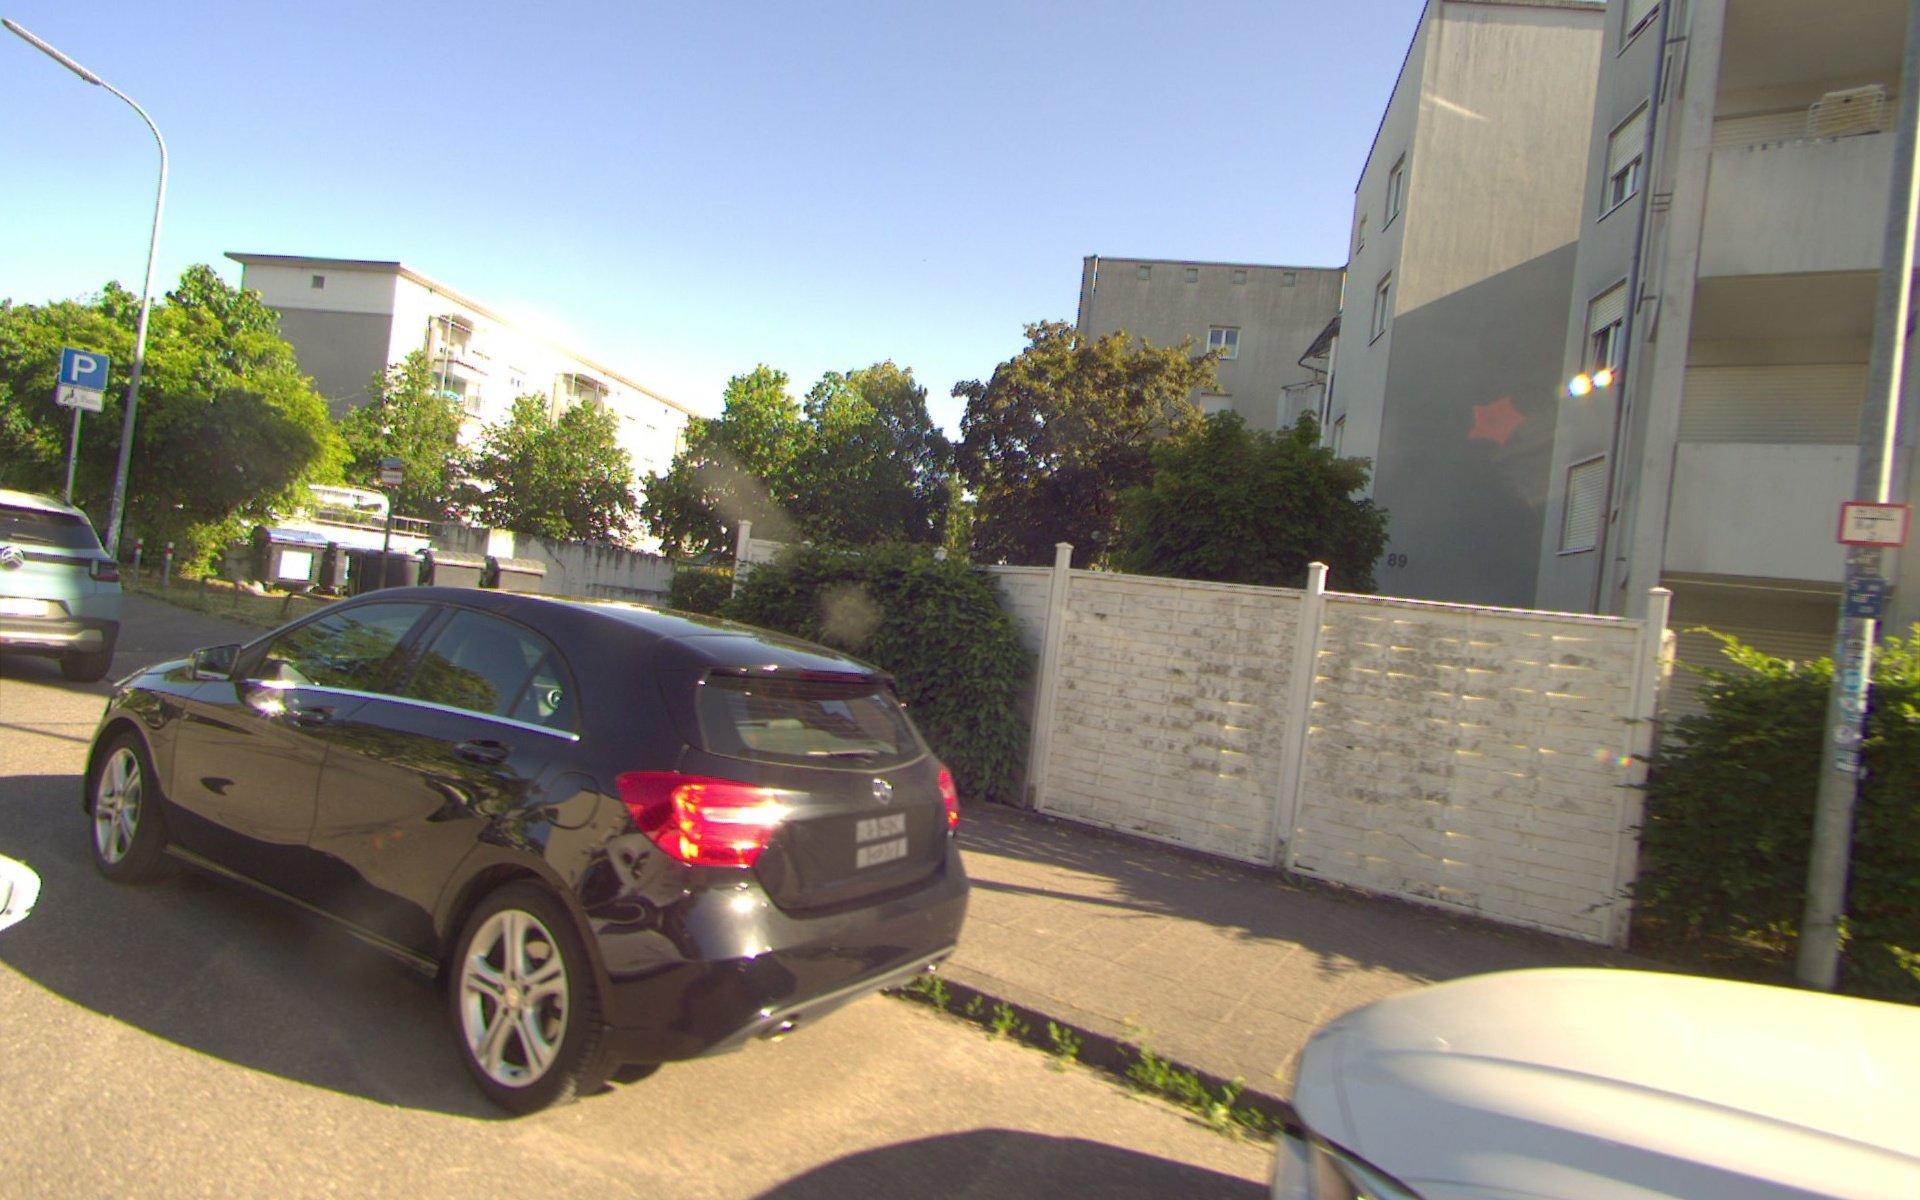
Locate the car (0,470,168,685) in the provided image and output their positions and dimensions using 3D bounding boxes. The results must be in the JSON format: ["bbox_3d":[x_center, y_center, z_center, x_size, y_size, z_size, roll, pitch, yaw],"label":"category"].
[{"bbox_3d":[-9.365,-0.366,9.199,4.303,1.686,1.912,6,-1,32],"label":"car"}]

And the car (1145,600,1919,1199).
[{"bbox_3d":[2.633,1.023,1.317,4.303,1.506,1.912,6,-1,32],"label":"car"}]

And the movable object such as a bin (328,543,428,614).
[{"bbox_3d":[-12.536,-0.464,21.677,1.362,1.321,1.411,6,0,40],"label":"movable object such as a bin"}]

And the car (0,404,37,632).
[{"bbox_3d":[-13.536,-1.254,12.165,5.764,2.514,2.107,6,-2,35],"label":"car"}]

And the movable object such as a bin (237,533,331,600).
[{"bbox_3d":[-15.720,-0.773,23.414,1.362,1.321,1.411,6,0,40],"label":"movable object such as a bin"}]

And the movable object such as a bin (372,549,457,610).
[{"bbox_3d":[-13.916,-0.523,25.664,1.362,1.321,1.411,6,0,40],"label":"movable object such as a bin"}]

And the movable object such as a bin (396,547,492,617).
[{"bbox_3d":[-11.732,-0.402,22.883,1.362,1.391,1.425,6,0,40],"label":"movable object such as a bin"}]

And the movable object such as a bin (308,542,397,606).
[{"bbox_3d":[-14.808,-0.631,24.536,1.362,1.321,1.411,6,0,40],"label":"movable object such as a bin"}]

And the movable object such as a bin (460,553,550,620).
[{"bbox_3d":[-10.892,-0.320,24.087,1.362,1.391,1.425,6,0,40],"label":"movable object such as a bin"}]

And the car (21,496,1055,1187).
[{"bbox_3d":[-2.006,0.538,4.362,4.303,1.506,1.912,6,-1,32],"label":"car"}]
